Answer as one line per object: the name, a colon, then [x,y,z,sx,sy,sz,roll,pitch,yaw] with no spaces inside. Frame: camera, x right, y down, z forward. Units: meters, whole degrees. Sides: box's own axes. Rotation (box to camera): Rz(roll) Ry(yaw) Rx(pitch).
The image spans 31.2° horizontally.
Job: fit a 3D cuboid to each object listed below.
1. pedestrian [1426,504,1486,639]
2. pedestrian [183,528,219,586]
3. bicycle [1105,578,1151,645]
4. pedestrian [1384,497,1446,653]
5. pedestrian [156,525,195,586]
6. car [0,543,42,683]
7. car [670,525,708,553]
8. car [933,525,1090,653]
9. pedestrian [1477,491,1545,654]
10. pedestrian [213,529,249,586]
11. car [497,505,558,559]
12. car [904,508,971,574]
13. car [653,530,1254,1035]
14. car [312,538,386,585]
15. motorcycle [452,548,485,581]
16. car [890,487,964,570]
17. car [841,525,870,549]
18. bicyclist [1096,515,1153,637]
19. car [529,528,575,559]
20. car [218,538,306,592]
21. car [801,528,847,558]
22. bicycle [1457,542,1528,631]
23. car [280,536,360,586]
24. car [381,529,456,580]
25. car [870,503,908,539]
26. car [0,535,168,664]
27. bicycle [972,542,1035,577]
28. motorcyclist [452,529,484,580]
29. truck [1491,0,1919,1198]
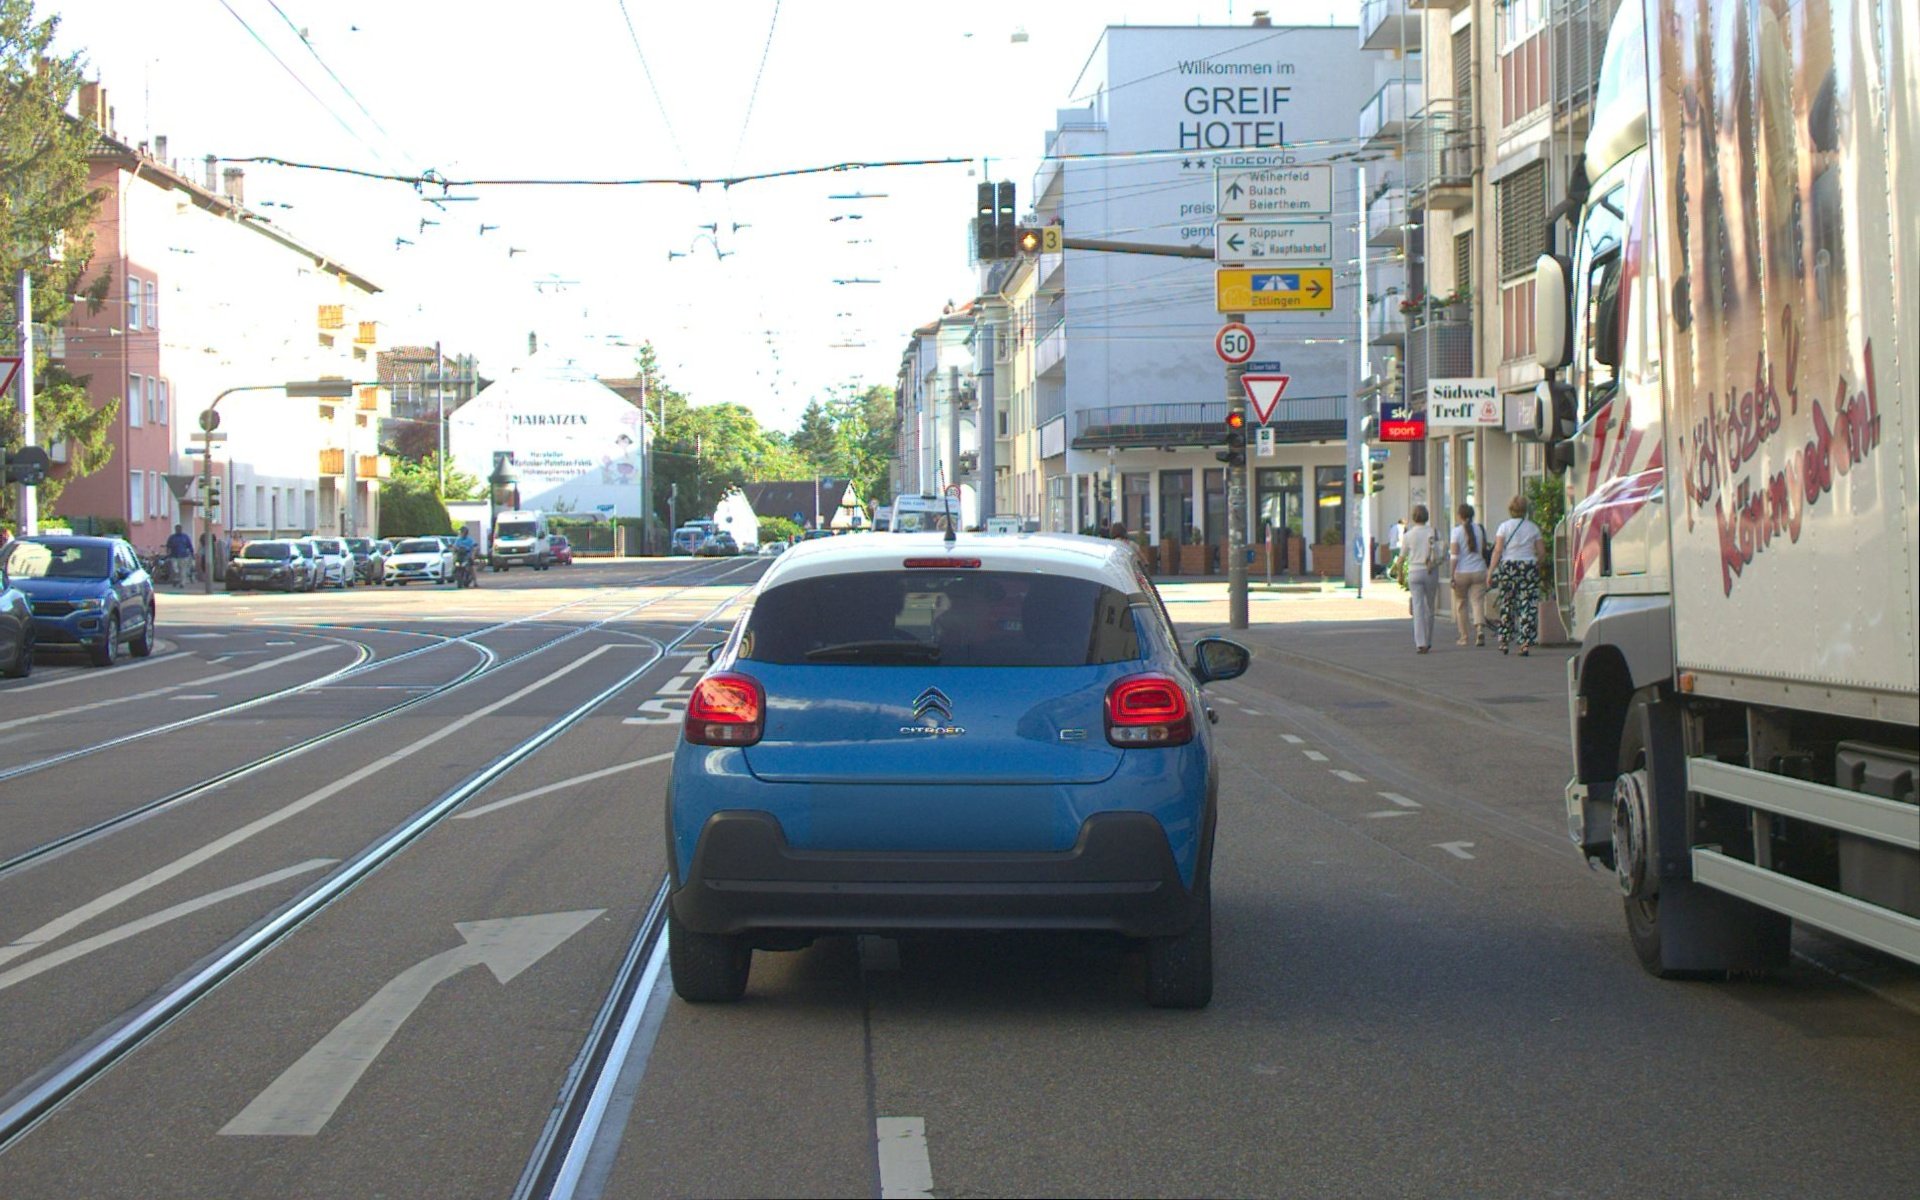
pedestrian: [5.698,-0.336,39.516,0.541,1.502,0.611,-2,3,-1]
pedestrian: [-22.391,-1.264,101.389,0.844,1.684,0.737,0,1,4]
bicycle: [2.275,0.146,46.786,0.498,0.861,1.749,-1,1,-1]
pedestrian: [4.998,-0.279,37.793,0.541,1.666,0.624,-2,3,-1]
pedestrian: [-21.653,-1.232,94.915,0.844,1.684,0.737,0,1,4]
car: [-11.143,0.123,36.550,1.699,1.504,4.312,1,1,-2]
car: [-15.480,-3.493,196.401,2.021,1.520,4.001,0,1,-3]
car: [0.603,-0.164,40.134,1.738,1.415,4.000,0,1,1]
pedestrian: [5.736,-0.290,35.823,0.541,1.666,0.650,-2,1,-1]
pedestrian: [-21.510,-1.257,101.472,0.844,1.684,0.737,0,1,4]
car: [-18.389,-2.892,146.322,2.206,2.243,4.677,-1,1,-3]
car: [-0.622,-1.612,94.044,1.732,1.744,3.214,1,1,-2]
car: [-0.181,0.501,12.063,1.743,1.457,4.001,1,1,-5]
car: [-20.079,-1.280,113.075,1.911,1.492,4.001,-1,1,-3]
motorcycle: [-13.457,-0.971,94.190,0.615,0.861,1.671,-1,1,1]
car: [-0.964,-2.040,98.965,1.993,2.317,4.000,1,1,-2]
car: [-7.812,-4.748,257.741,1.993,1.787,4.000,0,1,1]
bicyclist: [2.225,-0.330,46.554,0.726,1.640,0.790,0,1,1]
car: [-20.365,-2.809,171.599,2.021,1.520,4.001,0,1,-3]
car: [-19.448,-1.001,95.917,1.910,1.428,4.001,-1,1,-4]
car: [-5.898,-2.459,148.314,1.754,1.255,3.833,0,1,-6]
bicycle: [6.570,-0.180,42.492,0.530,1.068,1.811,-1,1,-2]
car: [-19.754,-1.226,106.280,1.911,1.492,4.001,-1,1,-3]
car: [-17.032,-1.442,108.230,1.849,1.568,4.402,0,1,-2]
car: [-3.258,-3.602,157.895,1.689,1.612,4.000,1,1,-1]
car: [-11.091,-0.035,42.506,1.744,1.504,4.000,1,1,-2]
bicycle: [1.206,-1.116,94.882,1.720,0.953,0.702,-1,1,3]
motorcyclist: [-13.452,-1.254,94.030,0.719,1.373,0.911,0,1,2]
truck: [3.546,-0.708,7.234,2.860,4.059,11.780,-1,1,-1]
